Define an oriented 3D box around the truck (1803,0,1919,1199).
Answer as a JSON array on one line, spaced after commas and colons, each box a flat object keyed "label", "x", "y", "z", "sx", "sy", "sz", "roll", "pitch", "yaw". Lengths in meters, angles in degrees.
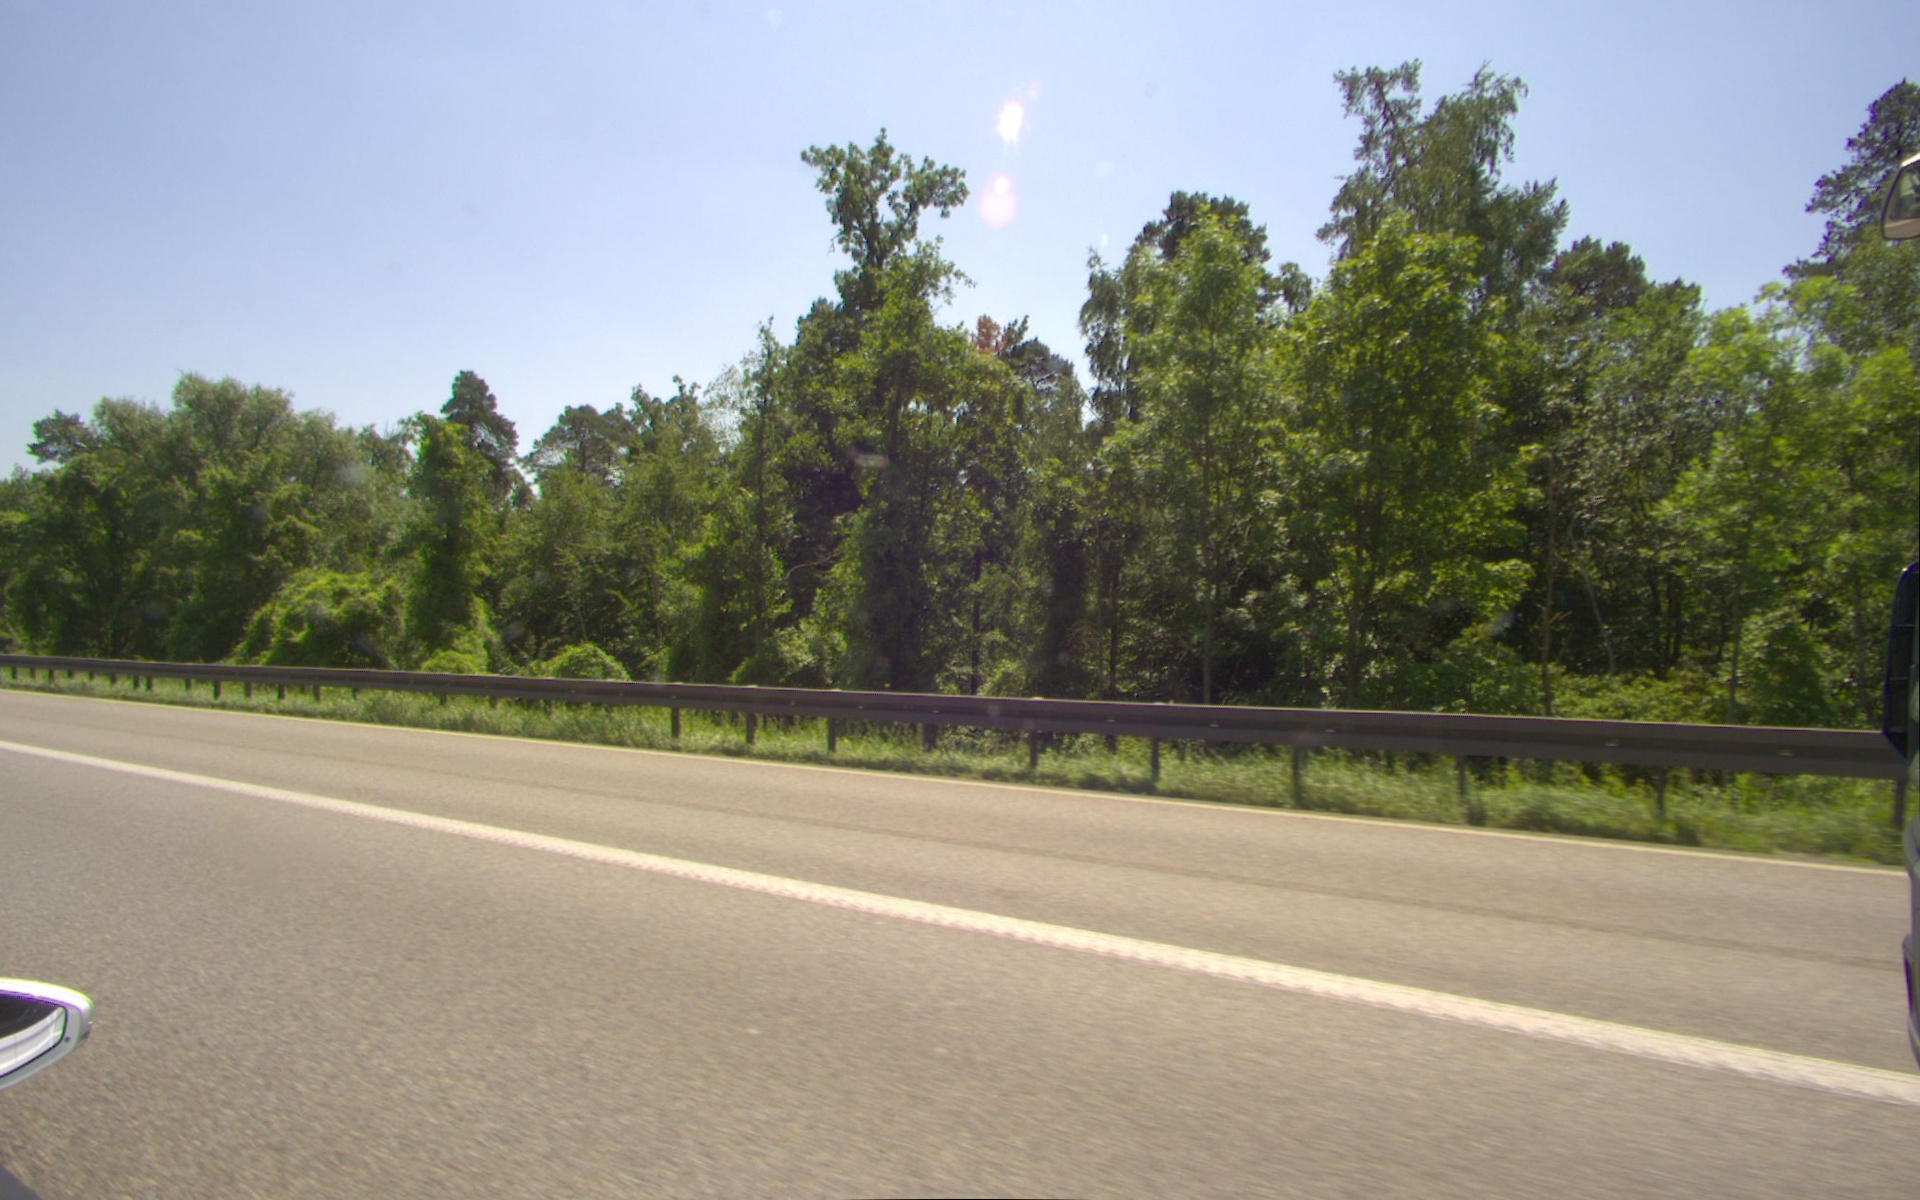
[{"label": "truck", "x": 3.535, "y": -0.030, "z": 0.773, "sx": 4.048, "sy": 2.978, "sz": 2.550, "roll": -2, "pitch": -1, "yaw": 33}]
